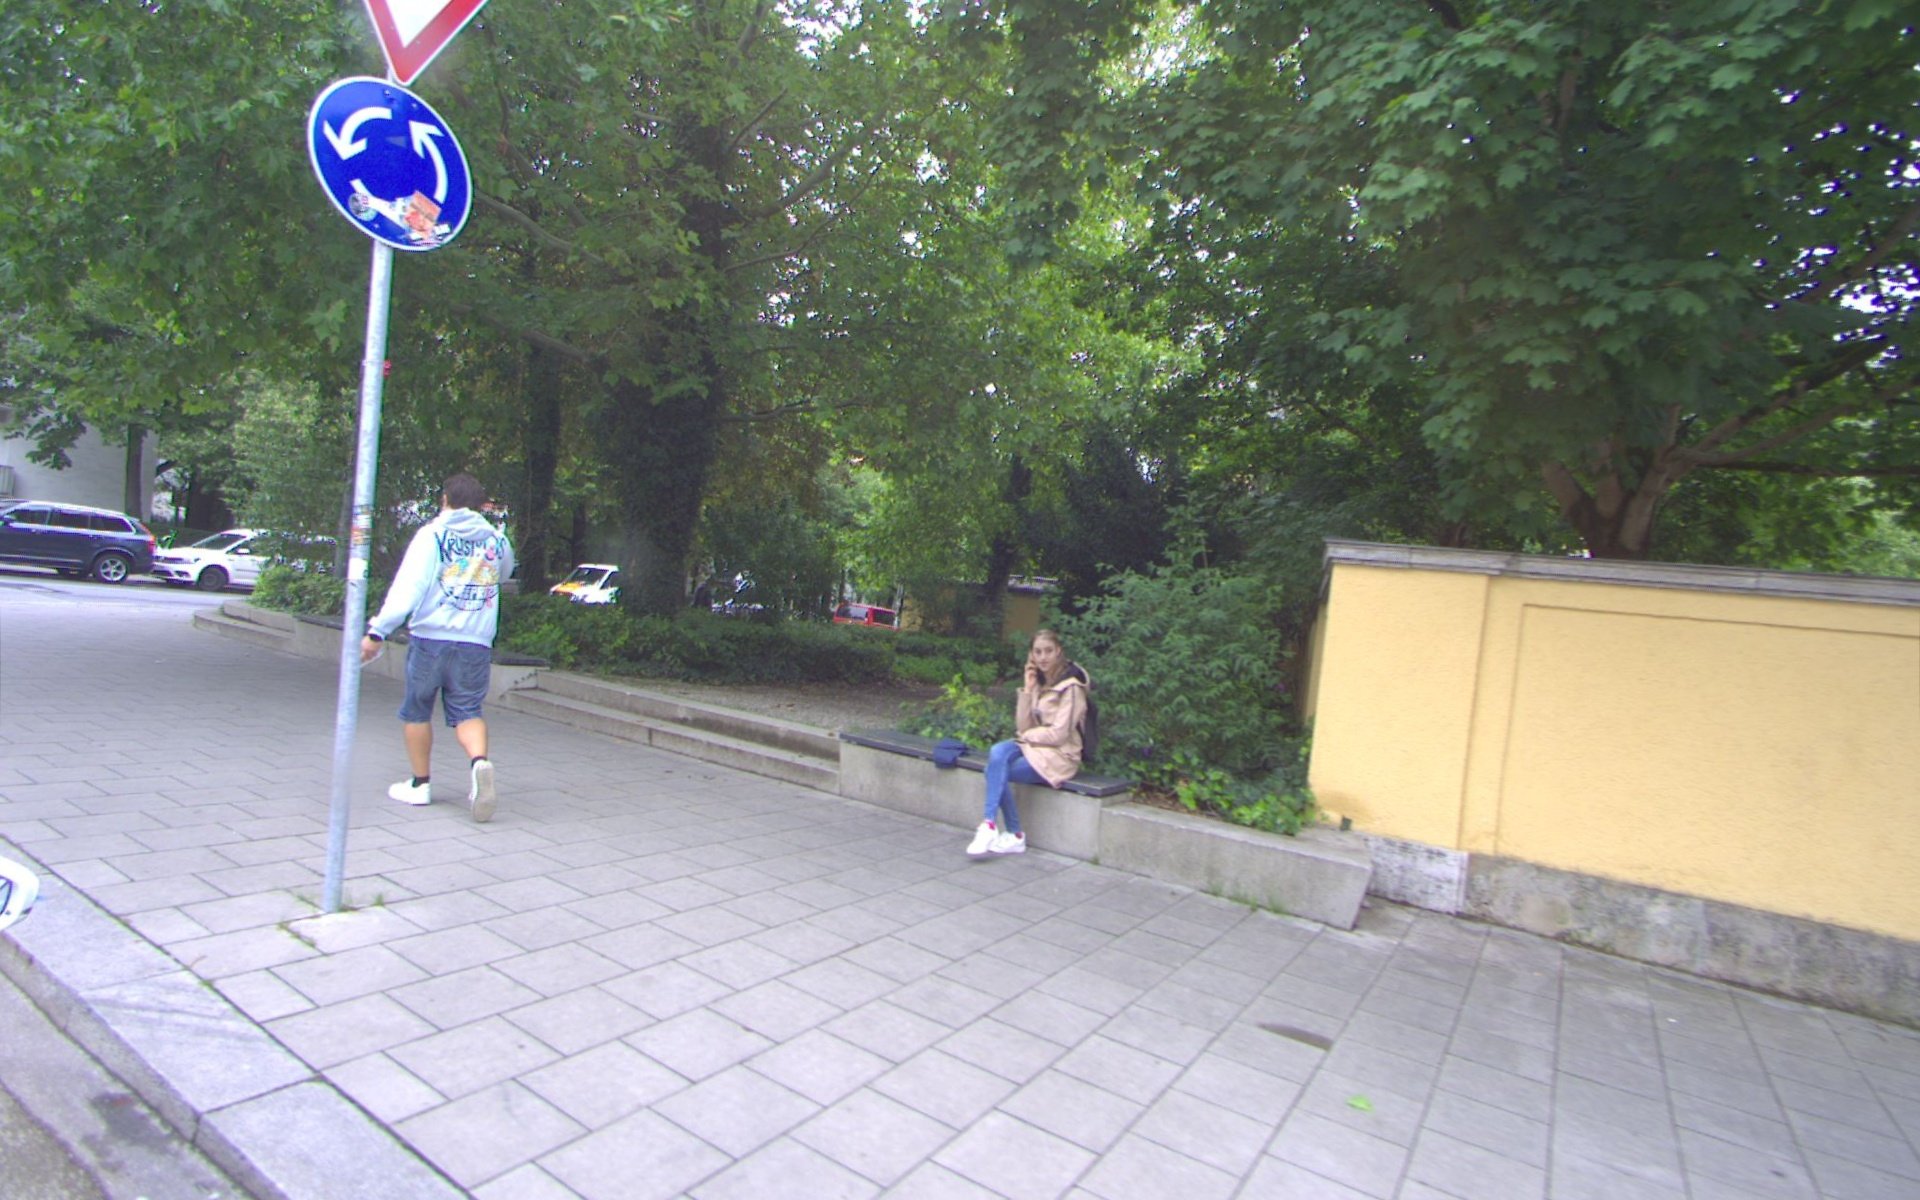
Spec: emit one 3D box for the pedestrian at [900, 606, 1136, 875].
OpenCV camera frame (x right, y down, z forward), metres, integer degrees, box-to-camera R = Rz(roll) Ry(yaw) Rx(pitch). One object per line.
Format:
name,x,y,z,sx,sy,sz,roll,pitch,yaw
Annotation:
pedestrian,0.364,0.790,5.998,0.863,1.354,1.010,7,0,36

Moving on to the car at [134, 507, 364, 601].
car,-19.470,-1.184,27.859,1.802,1.941,4.849,6,-2,23

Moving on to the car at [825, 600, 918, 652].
car,-3.731,1.162,43.224,1.961,1.860,4.715,6,-2,21

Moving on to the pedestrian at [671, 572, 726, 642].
pedestrian,-7.363,0.207,28.372,0.861,1.853,1.051,7,0,23

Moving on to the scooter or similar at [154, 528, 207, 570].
scooter or similar,-25.636,-1.663,33.090,0.393,1.208,1.214,7,-1,27

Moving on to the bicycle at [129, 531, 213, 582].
bicycle,-21.838,-1.191,27.859,1.796,1.163,0.538,7,0,2

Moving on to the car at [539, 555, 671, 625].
car,-14.261,-0.332,40.804,1.917,2.299,5.244,6,-2,22

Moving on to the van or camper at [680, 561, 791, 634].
van or camper,-10.807,-0.034,49.053,1.971,2.979,6.011,6,-2,22

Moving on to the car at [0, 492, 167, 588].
car,-21.519,-1.469,22.966,1.964,1.813,4.912,6,-2,24

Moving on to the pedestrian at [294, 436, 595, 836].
pedestrian,-2.642,0.159,5.157,1.037,1.793,0.873,7,0,39

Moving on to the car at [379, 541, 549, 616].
car,-16.704,-0.661,34.265,1.858,1.956,5.210,6,-2,20
